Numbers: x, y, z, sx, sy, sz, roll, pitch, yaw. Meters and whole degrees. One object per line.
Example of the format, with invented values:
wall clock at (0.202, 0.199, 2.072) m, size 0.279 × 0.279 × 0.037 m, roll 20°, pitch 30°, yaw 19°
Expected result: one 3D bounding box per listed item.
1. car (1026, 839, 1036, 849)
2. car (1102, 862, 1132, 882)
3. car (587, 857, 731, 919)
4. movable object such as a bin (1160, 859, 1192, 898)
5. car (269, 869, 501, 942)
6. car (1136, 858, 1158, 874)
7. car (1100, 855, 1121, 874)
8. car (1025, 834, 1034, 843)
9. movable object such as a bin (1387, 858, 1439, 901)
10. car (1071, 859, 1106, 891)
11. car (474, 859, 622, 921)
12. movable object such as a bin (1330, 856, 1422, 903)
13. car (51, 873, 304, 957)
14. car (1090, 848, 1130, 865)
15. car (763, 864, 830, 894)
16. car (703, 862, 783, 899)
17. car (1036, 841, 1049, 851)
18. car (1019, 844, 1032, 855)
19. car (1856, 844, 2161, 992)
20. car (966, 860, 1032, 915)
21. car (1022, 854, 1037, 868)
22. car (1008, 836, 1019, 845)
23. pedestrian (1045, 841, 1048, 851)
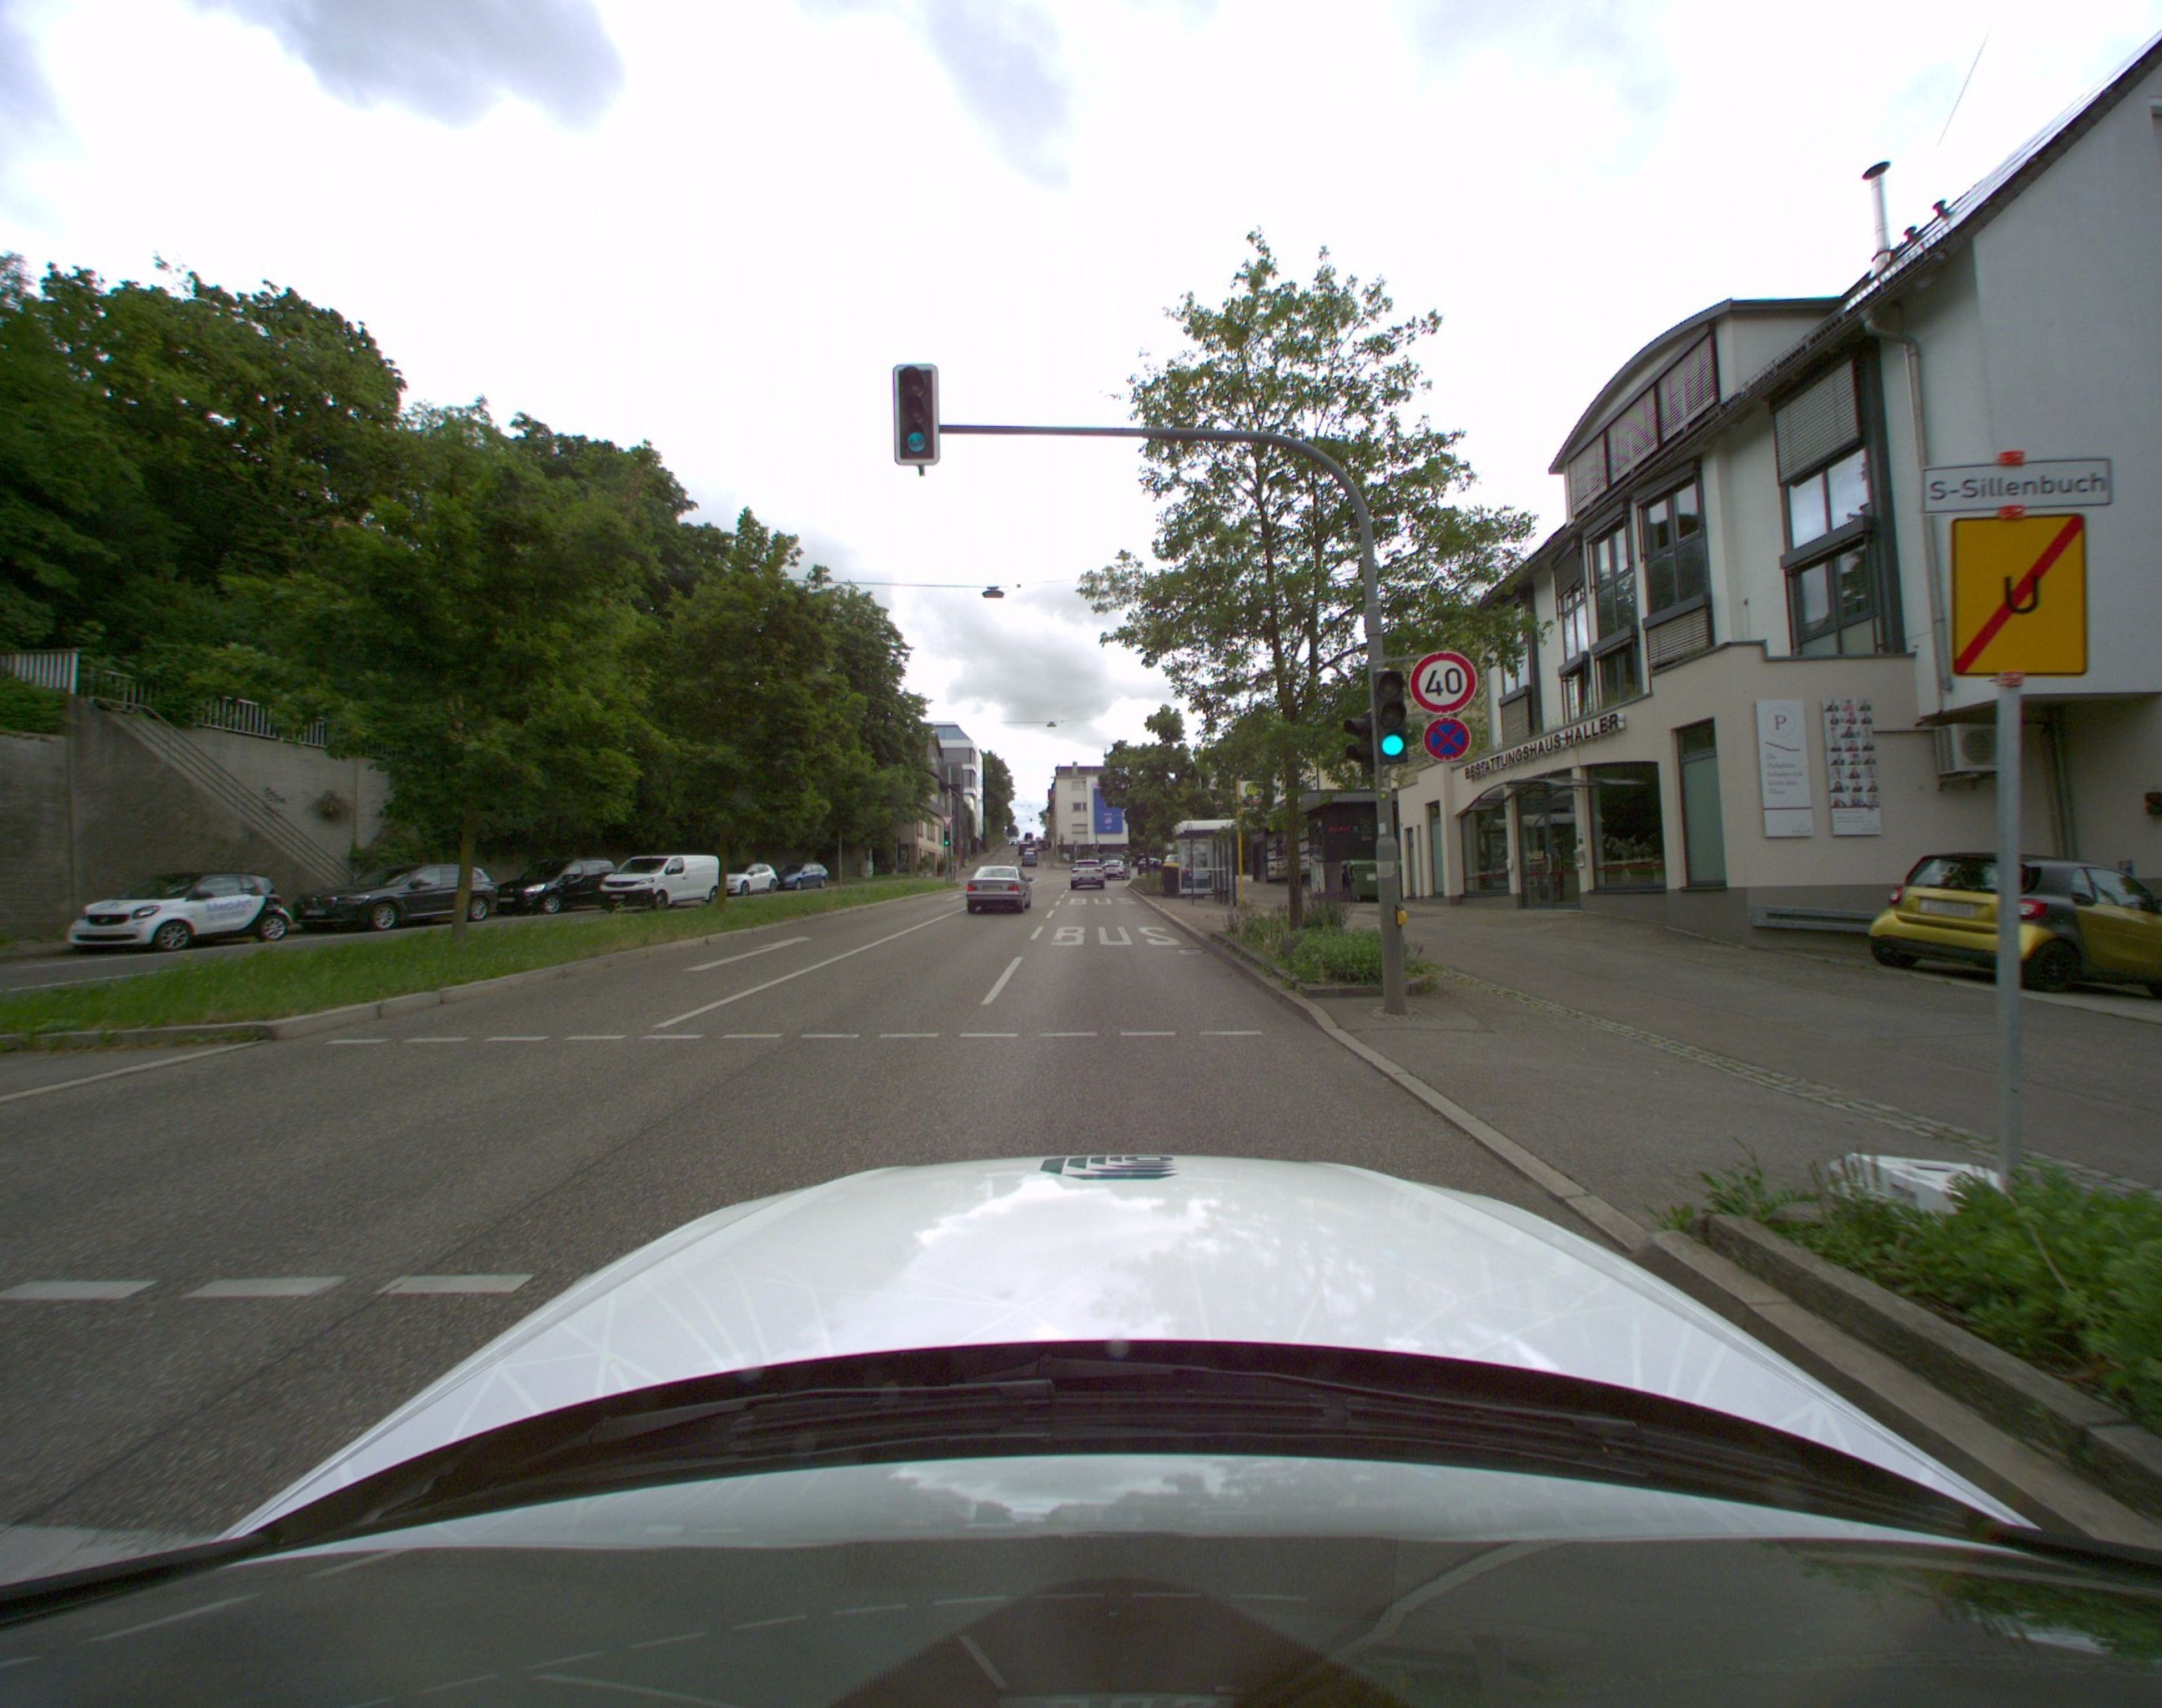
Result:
car at (-9.067, -1.796, 147.825) m, size 1.776 × 1.579 × 3.996 m, roll 0°, pitch 0°, yaw -3°
car at (2.749, 1.343, 61.517) m, size 1.769 × 1.409 × 4.011 m, roll 0°, pitch 0°, yaw 9°
car at (-14.521, 1.080, 28.460) m, size 1.928 × 1.958 × 5.032 m, roll 0°, pitch 0°, yaw 7°
movable object such as a bin at (3.701, 0.929, 31.886) m, size 1.081 × 1.481 × 1.537 m, roll -1°, pitch 0°, yaw 2°
car at (-18.085, 1.252, 21.529) m, size 1.960 × 1.657 × 4.538 m, roll 0°, pitch 0°, yaw 5°
car at (5.989, 1.070, 73.548) m, size 1.784 × 1.409 × 4.009 m, roll 0°, pitch 0°, yaw 8°
car at (2.663, 0.908, 72.418) m, size 1.772 × 1.579 × 4.004 m, roll 0°, pitch 0°, yaw 4°
car at (-11.757, -3.521, 187.219) m, size 1.989 × 2.013 × 3.996 m, roll 0°, pitch 0°, yaw -3°
movable object such as a bin at (11.382, 0.855, 27.952) m, size 1.335 × 1.409 × 1.128 m, roll -1°, pitch 0°, yaw 2°
car at (0.369, 1.090, 43.859) m, size 1.774 × 1.579 × 3.999 m, roll -1°, pitch 0°, yaw 0°
car at (-17.719, 1.121, 27.365) m, size 1.772 × 1.843 × 4.493 m, roll 0°, pitch 0°, yaw 4°
movable object such as a bin at (10.039, 0.827, 27.986) m, size 1.881 × 1.452 × 4.003 m, roll -1°, pitch 0°, yaw 3°
car at (-18.533, 1.188, 16.915) m, size 1.774 × 1.498 × 3.097 m, roll 0°, pitch 0°, yaw 0°
car at (3.488, 0.300, 99.160) m, size 4.677 × 1.712 × 2.317 m, roll 4°, pitch 3°, yaw -3°
car at (-15.813, 1.338, 45.469) m, size 1.702 × 1.528 × 4.312 m, roll 0°, pitch 0°, yaw 9°
car at (-16.462, 1.266, 39.854) m, size 1.770 × 1.629 × 4.179 m, roll 0°, pitch 0°, yaw 7°
car at (-6.243, -1.330, 133.673) m, size 2.084 × 1.613 × 3.997 m, roll -1°, pitch 0°, yaw -2°
car at (-8.124, -0.645, 119.445) m, size 1.776 × 1.579 × 3.996 m, roll -1°, pitch 0°, yaw -3°
car at (11.605, 0.748, 9.815) m, size 2.986 × 1.463 × 1.664 m, roll 5°, pitch 1°, yaw -6°
car at (-2.411, 0.953, 24.700) m, size 1.702 × 1.464 × 3.998 m, roll 0°, pitch 0°, yaw -2°
car at (-6.045, 0.799, 95.921) m, size 1.776 × 1.579 × 3.996 m, roll 0°, pitch 0°, yaw -3°
car at (-13.348, -2.660, 161.010) m, size 1.879 × 1.567 × 4.385 m, roll -1°, pitch 3°, yaw -3°
pedestrian at (-5.575, -1.316, 132.709) m, size 0.456 × 1.529 × 0.527 m, roll -1°, pitch -1°, yaw -2°
